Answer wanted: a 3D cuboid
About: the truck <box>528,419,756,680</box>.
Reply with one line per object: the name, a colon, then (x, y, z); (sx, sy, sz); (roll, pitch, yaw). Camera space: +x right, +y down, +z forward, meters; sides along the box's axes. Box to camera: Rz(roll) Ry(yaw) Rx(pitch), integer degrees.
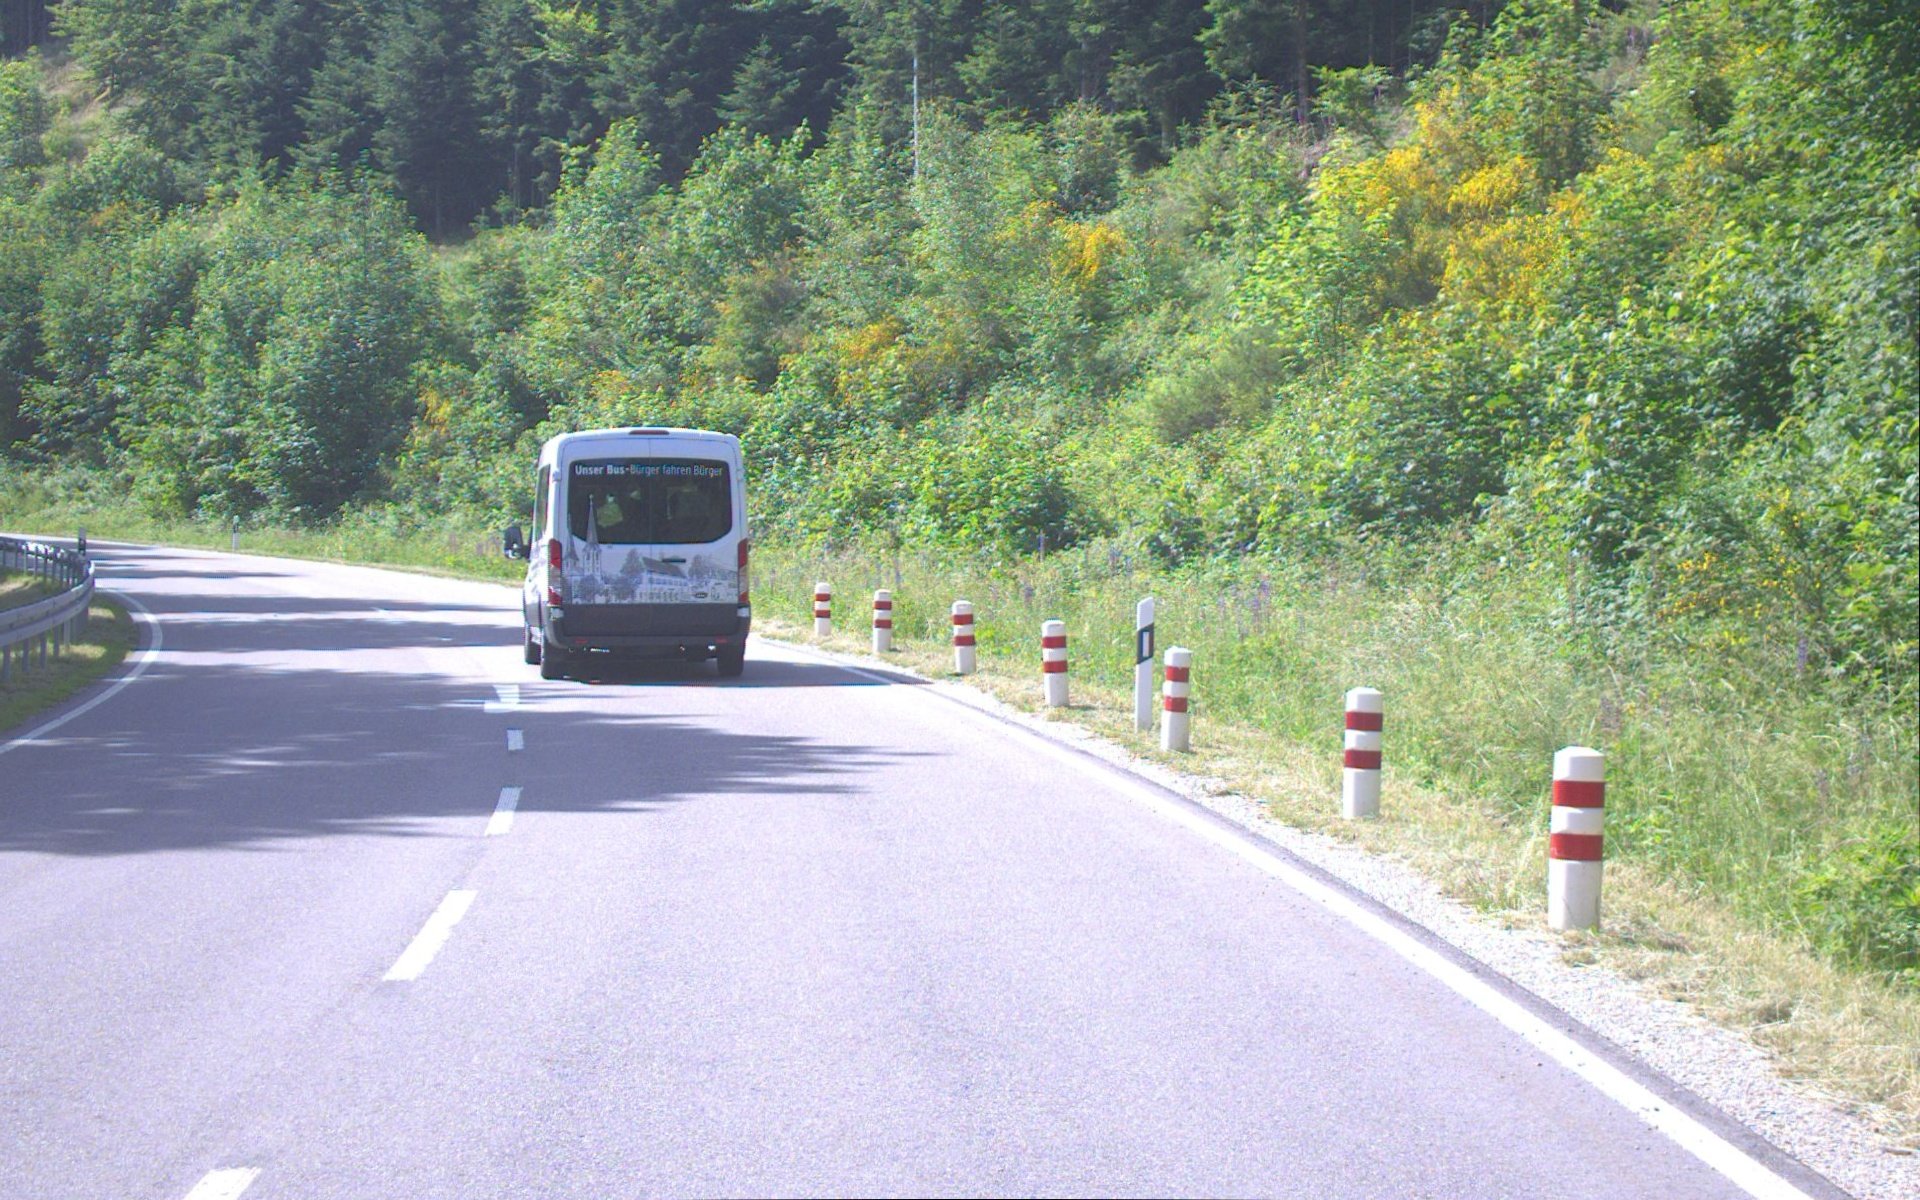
truck: (-3.375, -0.559, 35.604); (2.115, 2.489, 5.361); (0, 2, -8)
